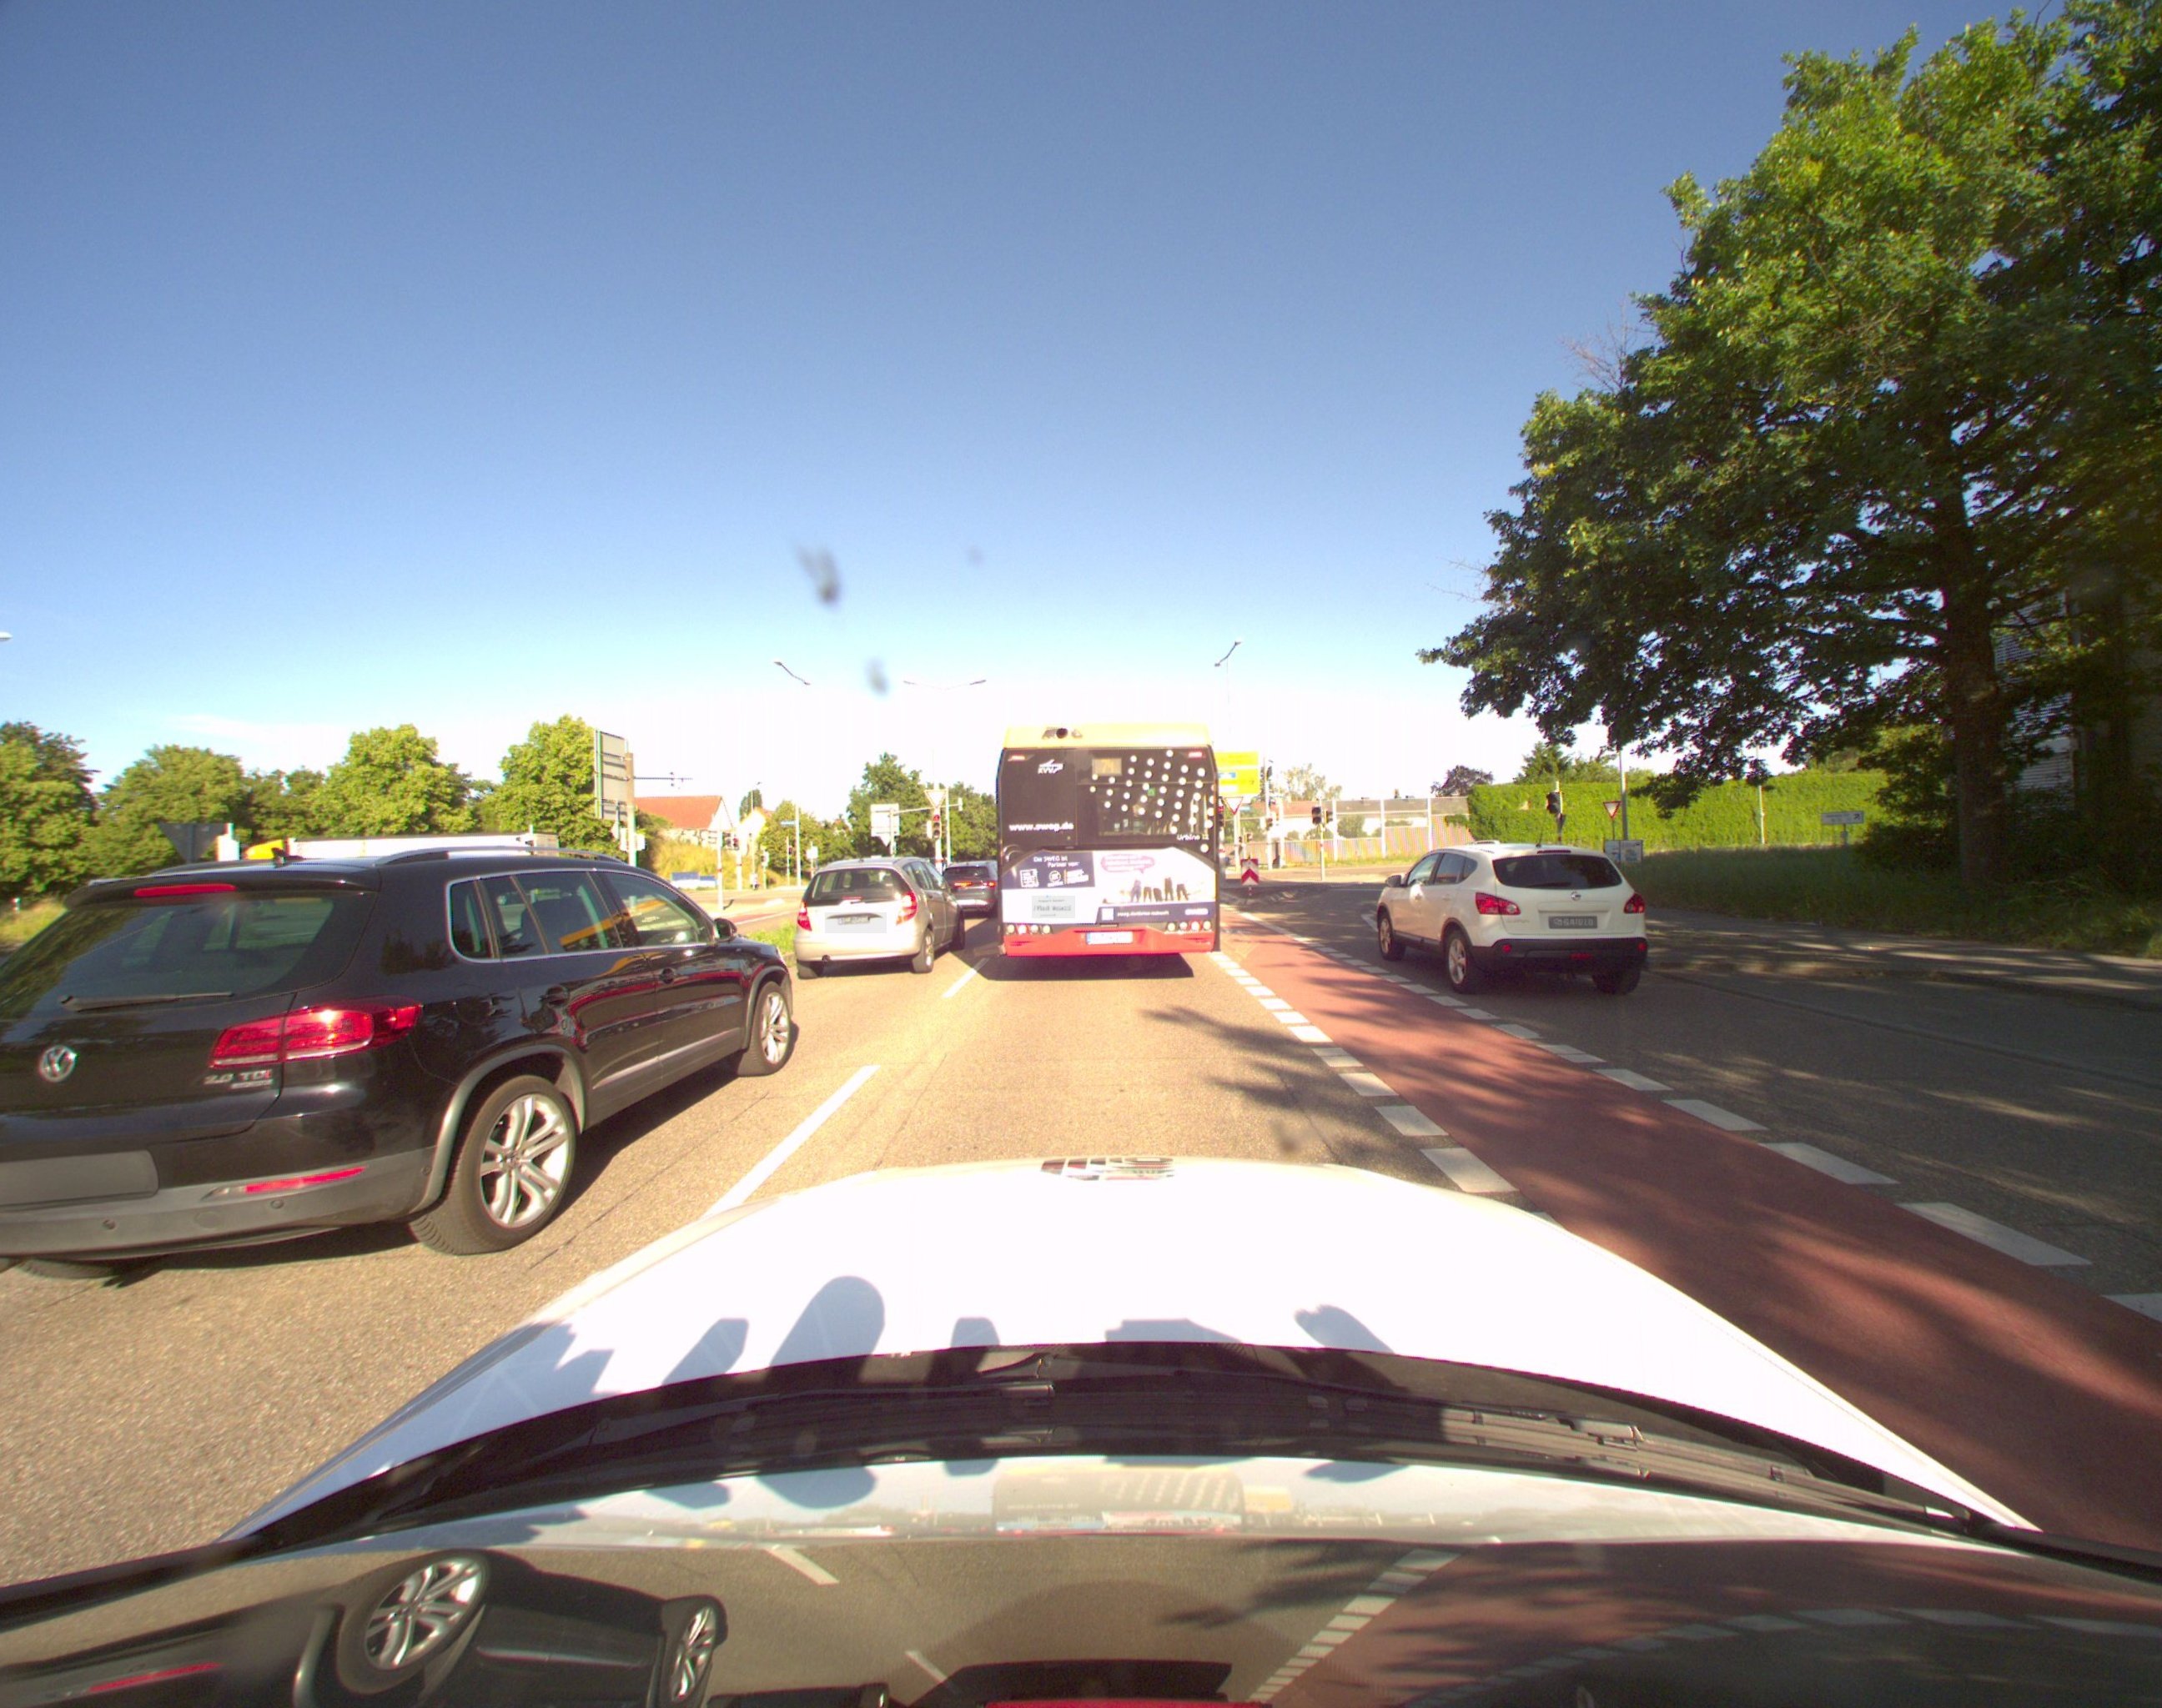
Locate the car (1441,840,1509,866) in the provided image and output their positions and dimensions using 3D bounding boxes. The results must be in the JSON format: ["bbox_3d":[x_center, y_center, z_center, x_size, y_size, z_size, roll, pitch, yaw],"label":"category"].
[{"bbox_3d":[28.248,-0.067,58.460,3.975,1.816,1.922,0,-1,-1],"label":"car"}]

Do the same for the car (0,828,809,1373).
[{"bbox_3d":[-3.166,0.798,4.568,1.766,1.653,4.001,-3,0,1],"label":"car"}]

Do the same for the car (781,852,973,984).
[{"bbox_3d":[-2.870,0.823,12.394,1.755,1.589,4.001,-3,0,1],"label":"car"}]

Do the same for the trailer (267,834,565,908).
[{"bbox_3d":[-40.198,0.961,49.714,14.628,4.013,3.435,-1,0,-5],"label":"trailer"}]

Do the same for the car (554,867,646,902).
[{"bbox_3d":[-24.565,1.536,41.687,3.577,1.560,1.747,-2,0,-5],"label":"car"}]

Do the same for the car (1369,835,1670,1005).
[{"bbox_3d":[4.893,0.629,9.806,1.709,1.607,4.073,-1,0,5],"label":"car"}]

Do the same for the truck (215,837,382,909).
[{"bbox_3d":[-47.019,1.108,49.147,6.463,4.013,3.436,-1,0,-4],"label":"truck"}]

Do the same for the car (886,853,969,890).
[{"bbox_3d":[-6.992,0.788,37.520,1.747,1.526,4.102,-3,-1,21],"label":"car"}]

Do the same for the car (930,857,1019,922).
[{"bbox_3d":[-2.683,0.855,21.328,1.686,1.458,3.751,-3,0,1],"label":"car"}]

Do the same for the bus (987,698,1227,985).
[{"bbox_3d":[0.528,-0.166,15.032,2.632,3.167,11.867,-1,0,2],"label":"bus"}]

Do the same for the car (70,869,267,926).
[{"bbox_3d":[-37.440,1.736,33.554,5.375,2.118,2.178,-1,-1,-4],"label":"car"}]
